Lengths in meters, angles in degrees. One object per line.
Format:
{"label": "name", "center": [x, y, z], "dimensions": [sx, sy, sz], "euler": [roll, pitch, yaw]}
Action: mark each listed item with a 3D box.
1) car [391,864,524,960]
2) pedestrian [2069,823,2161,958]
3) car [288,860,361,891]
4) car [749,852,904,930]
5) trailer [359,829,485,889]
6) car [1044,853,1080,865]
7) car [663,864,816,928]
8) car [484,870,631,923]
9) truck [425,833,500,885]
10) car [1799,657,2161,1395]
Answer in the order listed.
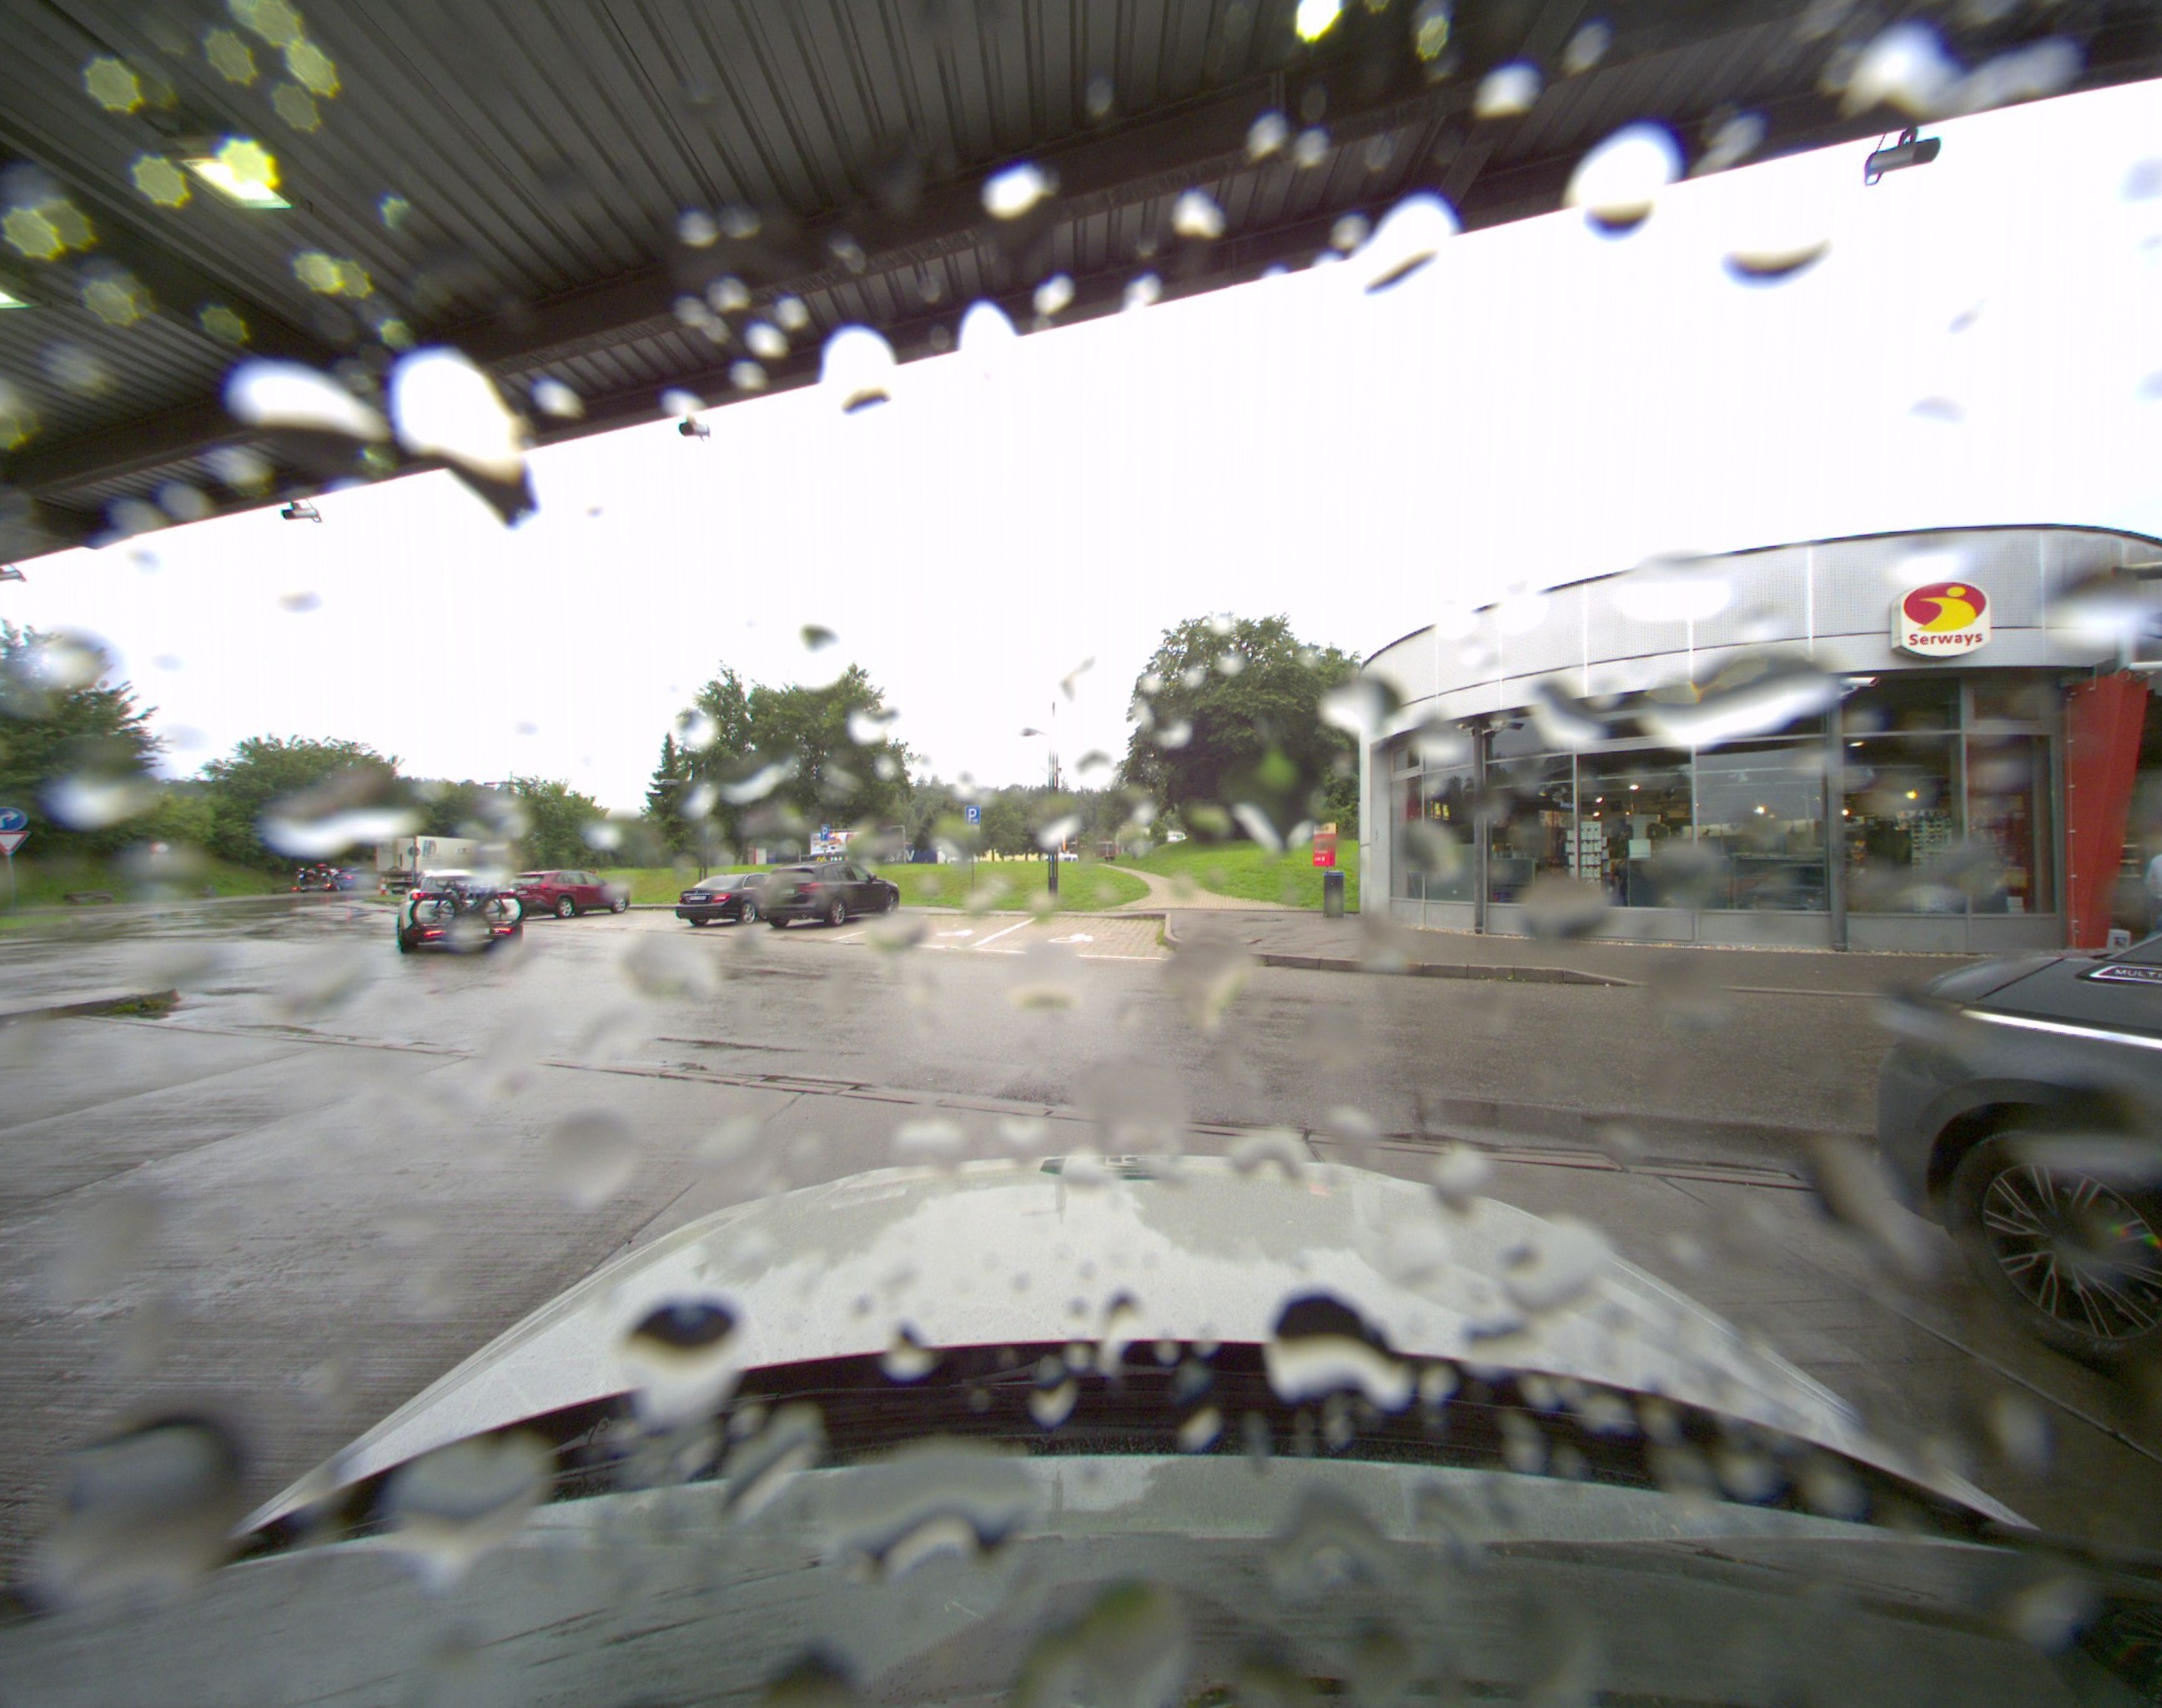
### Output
{"label": "car", "center": [-12.301, 1.006, 16.124], "dimensions": [1.828, 1.565, 4.947], "euler": [0, 0, -38]}
{"label": "pedestrian", "center": [12.561, 0.421, 9.652], "dimensions": [0.880, 1.550, 0.665], "euler": [-2, 0, 31]}
{"label": "car", "center": [-49.230, 1.360, 53.131], "dimensions": [1.934, 1.838, 4.361], "euler": [-1, 0, -20]}
{"label": "car", "center": [-6.611, 0.889, 21.747], "dimensions": [1.871, 1.828, 4.429], "euler": [-2, 0, 13]}
{"label": "trailer", "center": [-54.878, 0.424, 68.490], "dimensions": [3.466, 4.557, 13.827], "euler": [0, -1, -18]}
{"label": "car", "center": [-3.168, 0.804, 134.084], "dimensions": [5.376, 2.013, 2.468], "euler": [-1, 0, 21]}
{"label": "car", "center": [-9.612, 1.138, 23.305], "dimensions": [1.871, 1.565, 4.200], "euler": [-2, 0, 13]}
{"label": "car", "center": [-18.153, 1.417, 28.529], "dimensions": [1.873, 1.596, 4.364], "euler": [-2, 0, 8]}
{"label": "truck", "center": [-57.100, 0.498, 75.431], "dimensions": [3.467, 4.557, 6.694], "euler": [0, -1, -18]}
{"label": "car", "center": [3.719, 0.447, 1.236], "dimensions": [1.809, 1.948, 4.002], "euler": [-1, 0, 2]}
